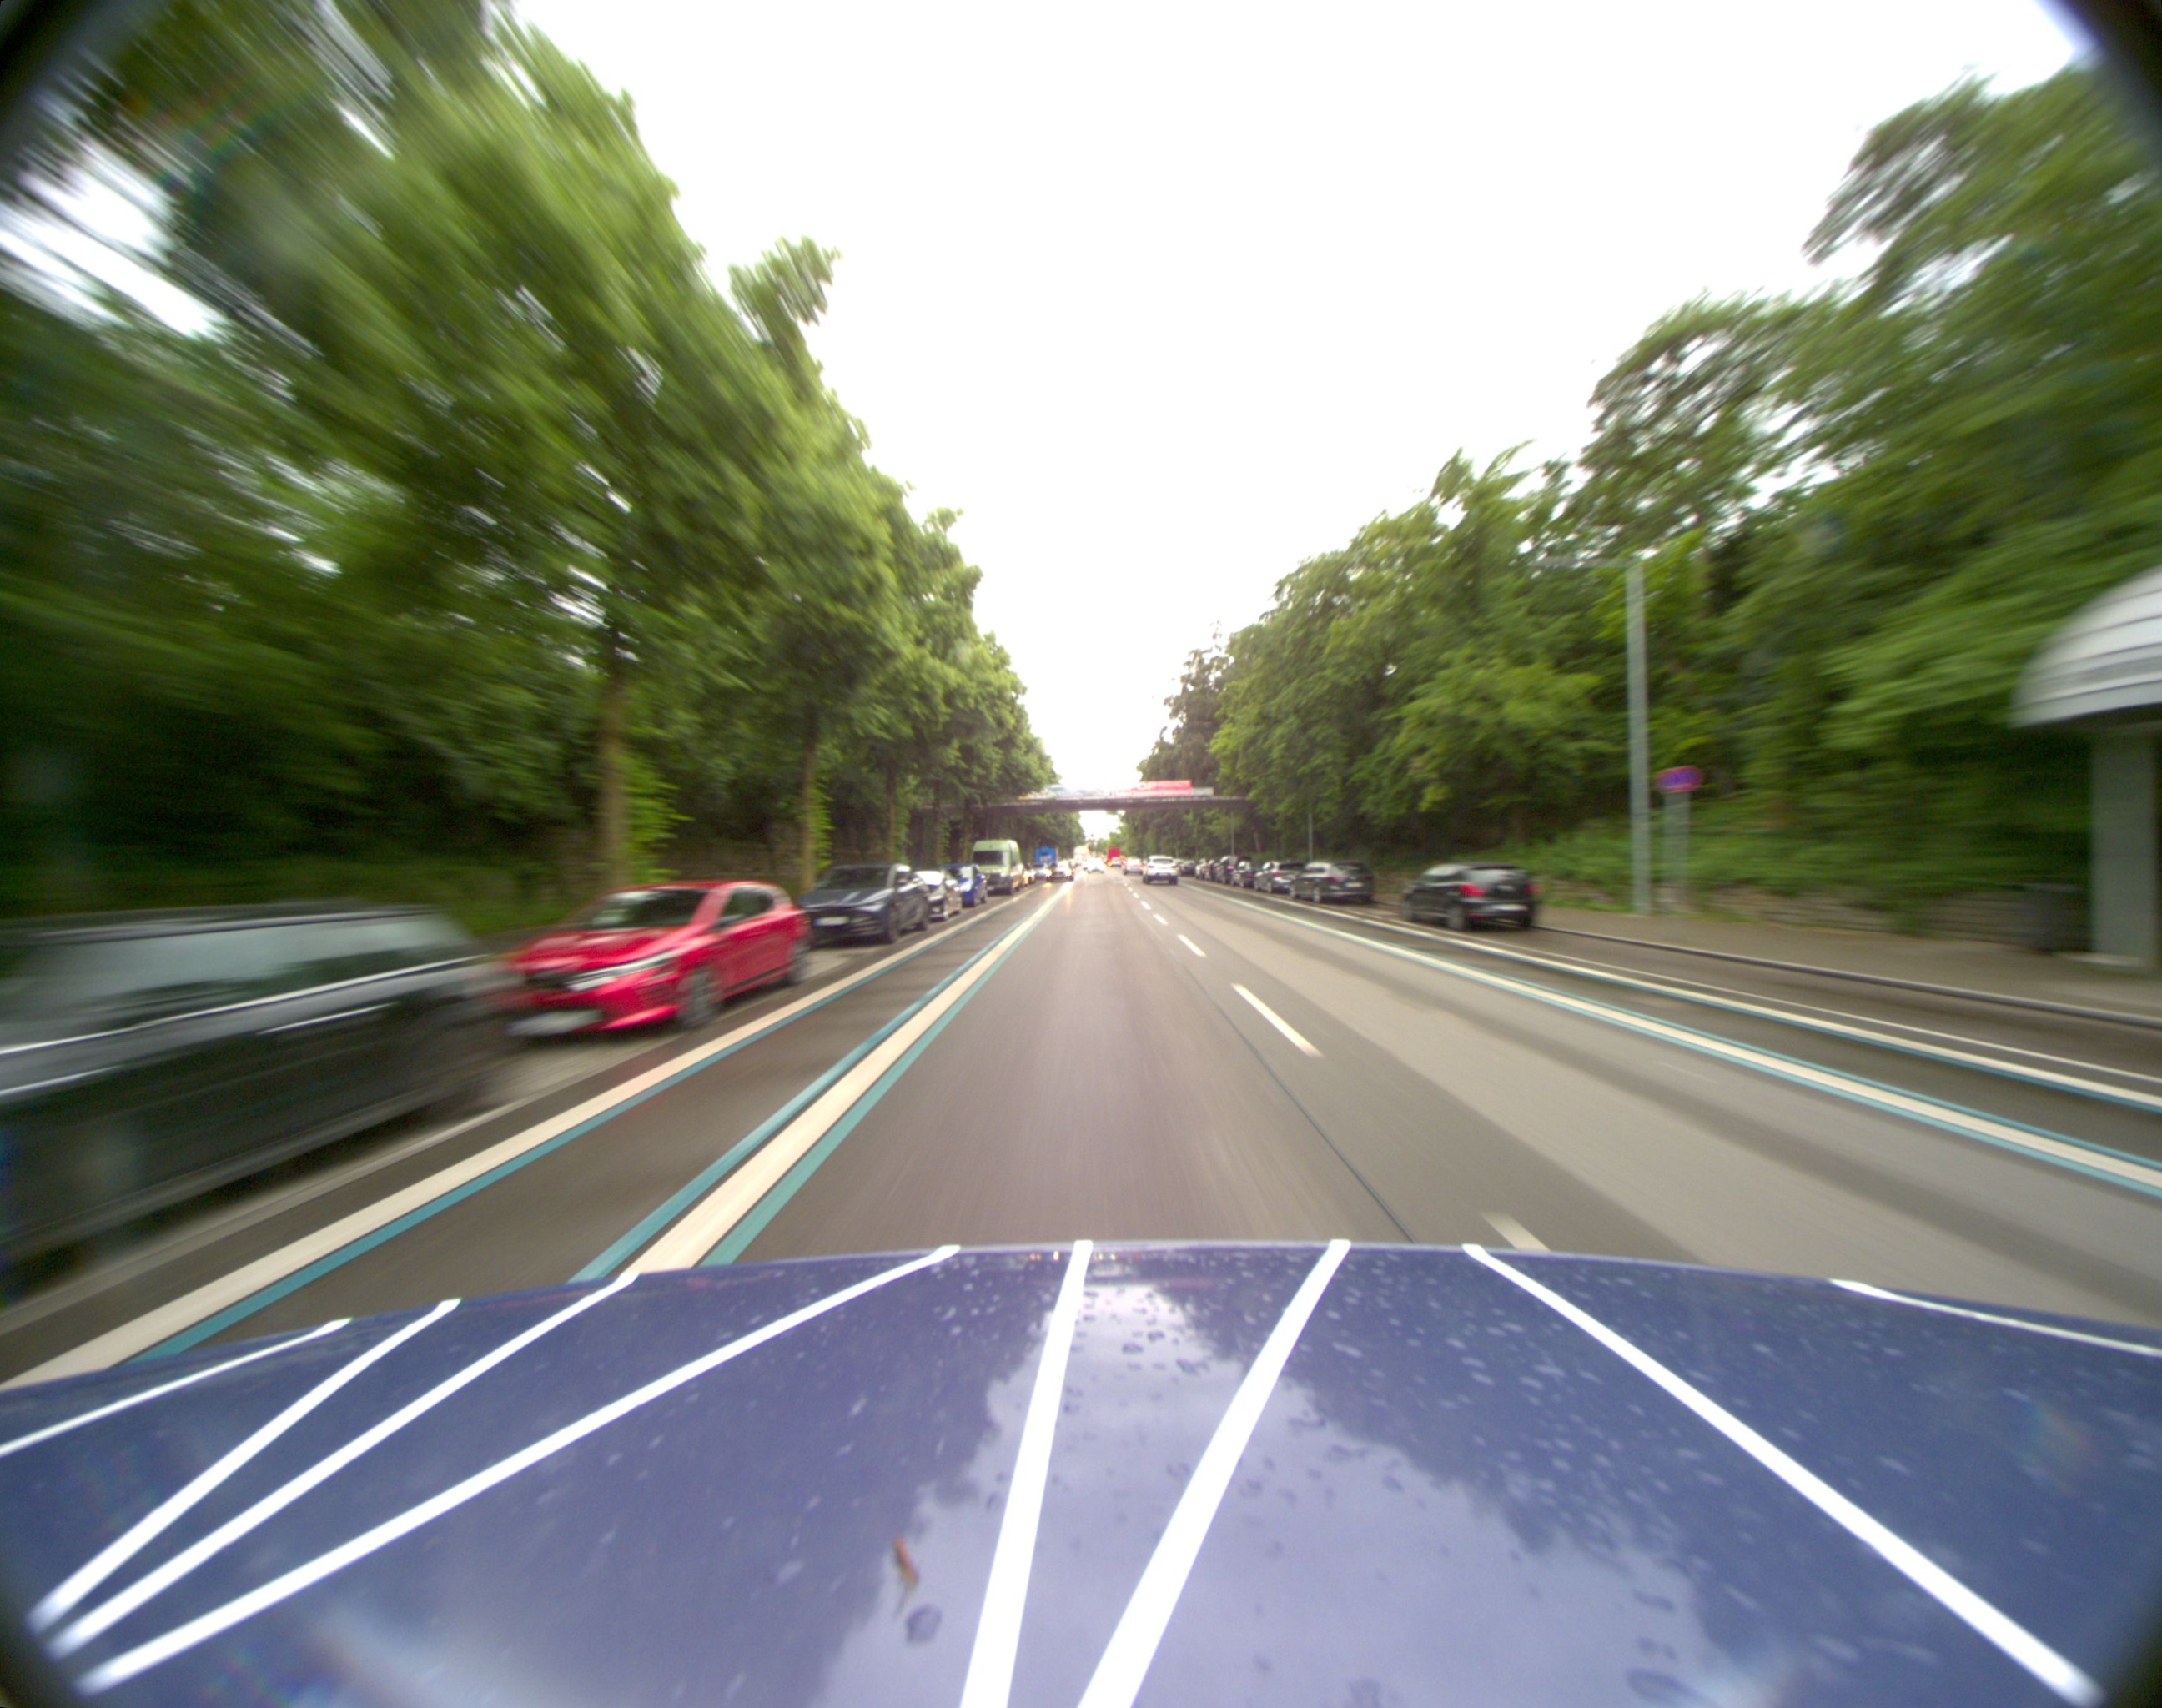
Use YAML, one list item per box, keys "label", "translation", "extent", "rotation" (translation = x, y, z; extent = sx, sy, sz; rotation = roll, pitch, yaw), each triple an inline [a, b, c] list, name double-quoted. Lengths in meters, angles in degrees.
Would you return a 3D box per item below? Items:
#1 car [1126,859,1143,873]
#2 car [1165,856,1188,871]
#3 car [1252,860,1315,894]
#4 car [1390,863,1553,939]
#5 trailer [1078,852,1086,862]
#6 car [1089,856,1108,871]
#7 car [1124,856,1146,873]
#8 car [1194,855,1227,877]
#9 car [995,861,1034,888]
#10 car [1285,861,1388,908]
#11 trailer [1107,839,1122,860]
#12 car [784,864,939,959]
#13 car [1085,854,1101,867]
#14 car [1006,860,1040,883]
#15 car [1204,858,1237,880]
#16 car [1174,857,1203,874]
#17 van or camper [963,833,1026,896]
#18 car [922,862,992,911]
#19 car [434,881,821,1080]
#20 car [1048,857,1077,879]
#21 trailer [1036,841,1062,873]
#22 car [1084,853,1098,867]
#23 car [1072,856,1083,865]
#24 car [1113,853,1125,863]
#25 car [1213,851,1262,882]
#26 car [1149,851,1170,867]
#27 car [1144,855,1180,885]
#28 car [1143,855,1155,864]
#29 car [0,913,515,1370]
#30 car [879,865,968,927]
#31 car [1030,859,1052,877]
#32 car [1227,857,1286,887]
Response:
- label: "car"
  translation: [6.703, 1.459, 95.185]
  extent: [1.970, 1.618, 4.321]
  rotation: [0, 0, 1]
- label: "car"
  translation: [9.674, 0.945, 77.191]
  extent: [1.794, 1.473, 3.982]
  rotation: [-1, 0, -1]
- label: "car"
  translation: [9.043, 0.981, 34.239]
  extent: [1.788, 1.415, 4.296]
  rotation: [-1, 0, 1]
- label: "car"
  translation: [8.681, 0.977, 17.299]
  extent: [1.675, 1.449, 3.993]
  rotation: [-1, 0, 0]
- label: "trailer"
  translation: [0.225, 0.723, 191.133]
  extent: [1.988, 2.550, 3.999]
  rotation: [-2, 0, -1]
- label: "car"
  translation: [1.901, 1.007, 81.419]
  extent: [1.998, 1.588, 4.000]
  rotation: [-2, 0, 2]
- label: "car"
  translation: [5.045, 0.973, 71.536]
  extent: [1.926, 1.551, 4.621]
  rotation: [0, 0, 1]
- label: "car"
  translation: [9.525, 0.843, 56.090]
  extent: [1.692, 1.537, 4.233]
  rotation: [-1, 0, 0]
- label: "car"
  translation: [-3.807, 1.177, 44.358]
  extent: [1.690, 1.408, 4.100]
  rotation: [-2, 0, 3]
- label: "car"
  translation: [8.810, 0.988, 26.699]
  extent: [1.961, 1.454, 4.756]
  rotation: [-1, 0, -1]
- label: "trailer"
  translation: [7.166, -0.951, 163.933]
  extent: [2.694, 4.234, 12.768]
  rotation: [1, 0, 0]
- label: "car"
  translation: [-4.359, 1.058, 15.872]
  extent: [1.760, 1.580, 4.499]
  rotation: [-3, 0, 2]
- label: "car"
  translation: [1.628, 0.811, 100.904]
  extent: [1.998, 1.629, 4.000]
  rotation: [-1, 0, 2]
- label: "car"
  translation: [-3.733, 1.108, 49.594]
  extent: [1.690, 1.408, 4.197]
  rotation: [-2, 0, 2]
- label: "car"
  translation: [9.414, 0.982, 51.619]
  extent: [1.613, 1.430, 3.844]
  rotation: [-1, 0, 1]
- label: "car"
  translation: [9.421, 1.006, 66.604]
  extent: [1.836, 1.468, 4.040]
  rotation: [-1, 0, -2]
- label: "van or camper"
  translation: [-4.045, 0.466, 36.728]
  extent: [2.047, 2.713, 6.900]
  rotation: [-3, 0, 1]
- label: "car"
  translation: [-4.317, 1.096, 26.999]
  extent: [1.690, 1.505, 3.835]
  rotation: [-3, 0, 2]
- label: "car"
  translation: [-4.486, 1.126, 8.403]
  extent: [1.690, 1.444, 4.165]
  rotation: [-3, 0, 1]
- label: "car"
  translation: [-1.271, 0.975, 53.986]
  extent: [1.822, 1.499, 4.139]
  rotation: [-1, 0, 2]
- label: "trailer"
  translation: [-2.856, 0.287, 68.343]
  extent: [1.957, 2.742, 4.007]
  rotation: [-2, 0, 1]
- label: "car"
  translation: [1.364, 0.811, 100.573]
  extent: [1.850, 1.718, 3.731]
  rotation: [-1, 0, 1]
- label: "car"
  translation: [-0.582, 1.045, 124.713]
  extent: [1.702, 1.445, 4.097]
  rotation: [-2, 0, 0]
- label: "car"
  translation: [6.564, 0.723, 130.942]
  extent: [1.838, 1.656, 4.180]
  rotation: [1, 0, 1]
- label: "car"
  translation: [9.466, 0.733, 46.250]
  extent: [1.995, 1.731, 4.838]
  rotation: [-1, 0, 0]
- label: "car"
  translation: [10.605, 0.675, 102.900]
  extent: [1.979, 1.993, 5.017]
  rotation: [-2, 0, -3]
- label: "car"
  translation: [4.669, 0.873, 44.225]
  extent: [1.800, 1.642, 4.129]
  rotation: [0, 0, 2]
- label: "car"
  translation: [11.459, 0.975, 127.822]
  extent: [1.694, 1.397, 4.028]
  rotation: [-2, 0, 2]
- label: "car"
  translation: [-4.666, 1.148, 3.243]
  extent: [1.610, 1.444, 3.747]
  rotation: [-3, 0, 1]
- label: "car"
  translation: [-4.330, 1.103, 21.476]
  extent: [1.690, 1.447, 4.145]
  rotation: [-3, 0, -1]
- label: "car"
  translation: [-3.225, 1.126, 61.488]
  extent: [1.588, 1.345, 3.862]
  rotation: [-3, 0, -1]
- label: "car"
  translation: [9.256, 0.924, 40.507]
  extent: [1.988, 1.464, 4.898]
  rotation: [-2, 0, 0]
